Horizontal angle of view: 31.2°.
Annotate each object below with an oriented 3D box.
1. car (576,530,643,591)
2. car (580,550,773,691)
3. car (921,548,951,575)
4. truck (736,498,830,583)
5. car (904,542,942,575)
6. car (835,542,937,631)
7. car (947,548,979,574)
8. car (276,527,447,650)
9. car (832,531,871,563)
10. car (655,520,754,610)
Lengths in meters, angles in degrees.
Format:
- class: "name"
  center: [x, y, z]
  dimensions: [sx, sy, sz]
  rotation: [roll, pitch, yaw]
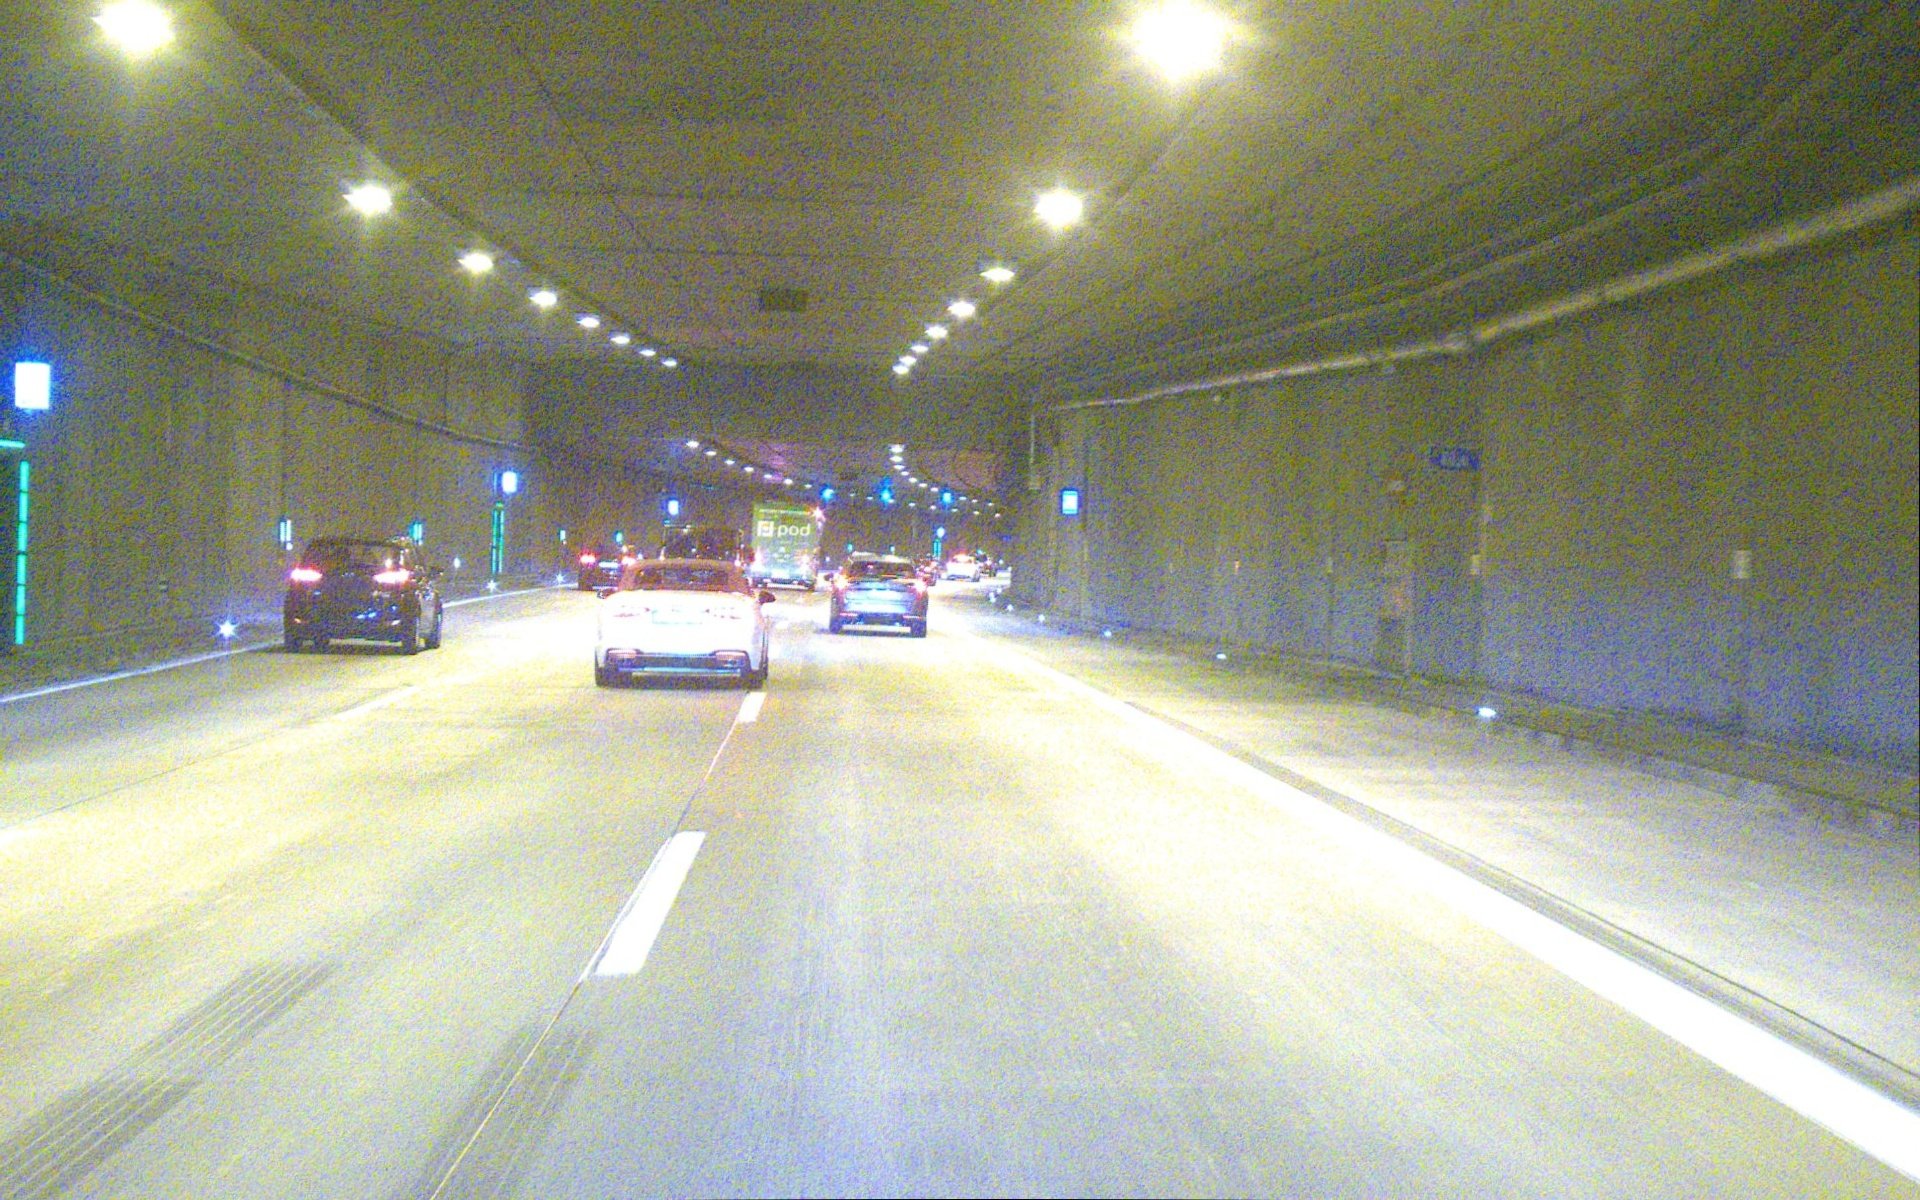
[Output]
- class: "car"
  center: [-10.069, -1.135, 98.971]
  dimensions: [1.800, 1.678, 4.001]
  rotation: [-1, 1, -4]
- class: "car"
  center: [-3.096, 0.182, 38.205]
  dimensions: [1.993, 1.478, 4.001]
  rotation: [0, 1, -3]
- class: "car"
  center: [-1.520, -2.489, 220.578]
  dimensions: [1.833, 1.685, 4.000]
  rotation: [1, 1, 1]
- class: "truck"
  center: [-6.627, -2.317, 130.248]
  dimensions: [3.082, 3.102, 10.030]
  rotation: [0, 2, 0]
- class: "car"
  center: [-1.895, -2.169, 178.978]
  dimensions: [1.858, 1.660, 4.000]
  rotation: [1, 1, 1]
- class: "car"
  center: [-1.376, -0.267, 64.516]
  dimensions: [1.839, 1.597, 4.000]
  rotation: [0, 1, -1]
- class: "car"
  center: [0.193, -2.450, 214.735]
  dimensions: [1.844, 1.546, 4.000]
  rotation: [1, 1, 2]
- class: "car"
  center: [-8.097, -0.175, 46.792]
  dimensions: [1.785, 1.593, 3.802]
  rotation: [0, 1, -2]
- class: "car"
  center: [-5.895, -2.890, 187.710]
  dimensions: [1.993, 1.748, 4.000]
  rotation: [0, 0, 0]
- class: "car"
  center: [-5.746, -0.786, 77.643]
  dimensions: [1.993, 1.965, 4.000]
  rotation: [-1, 0, -1]
